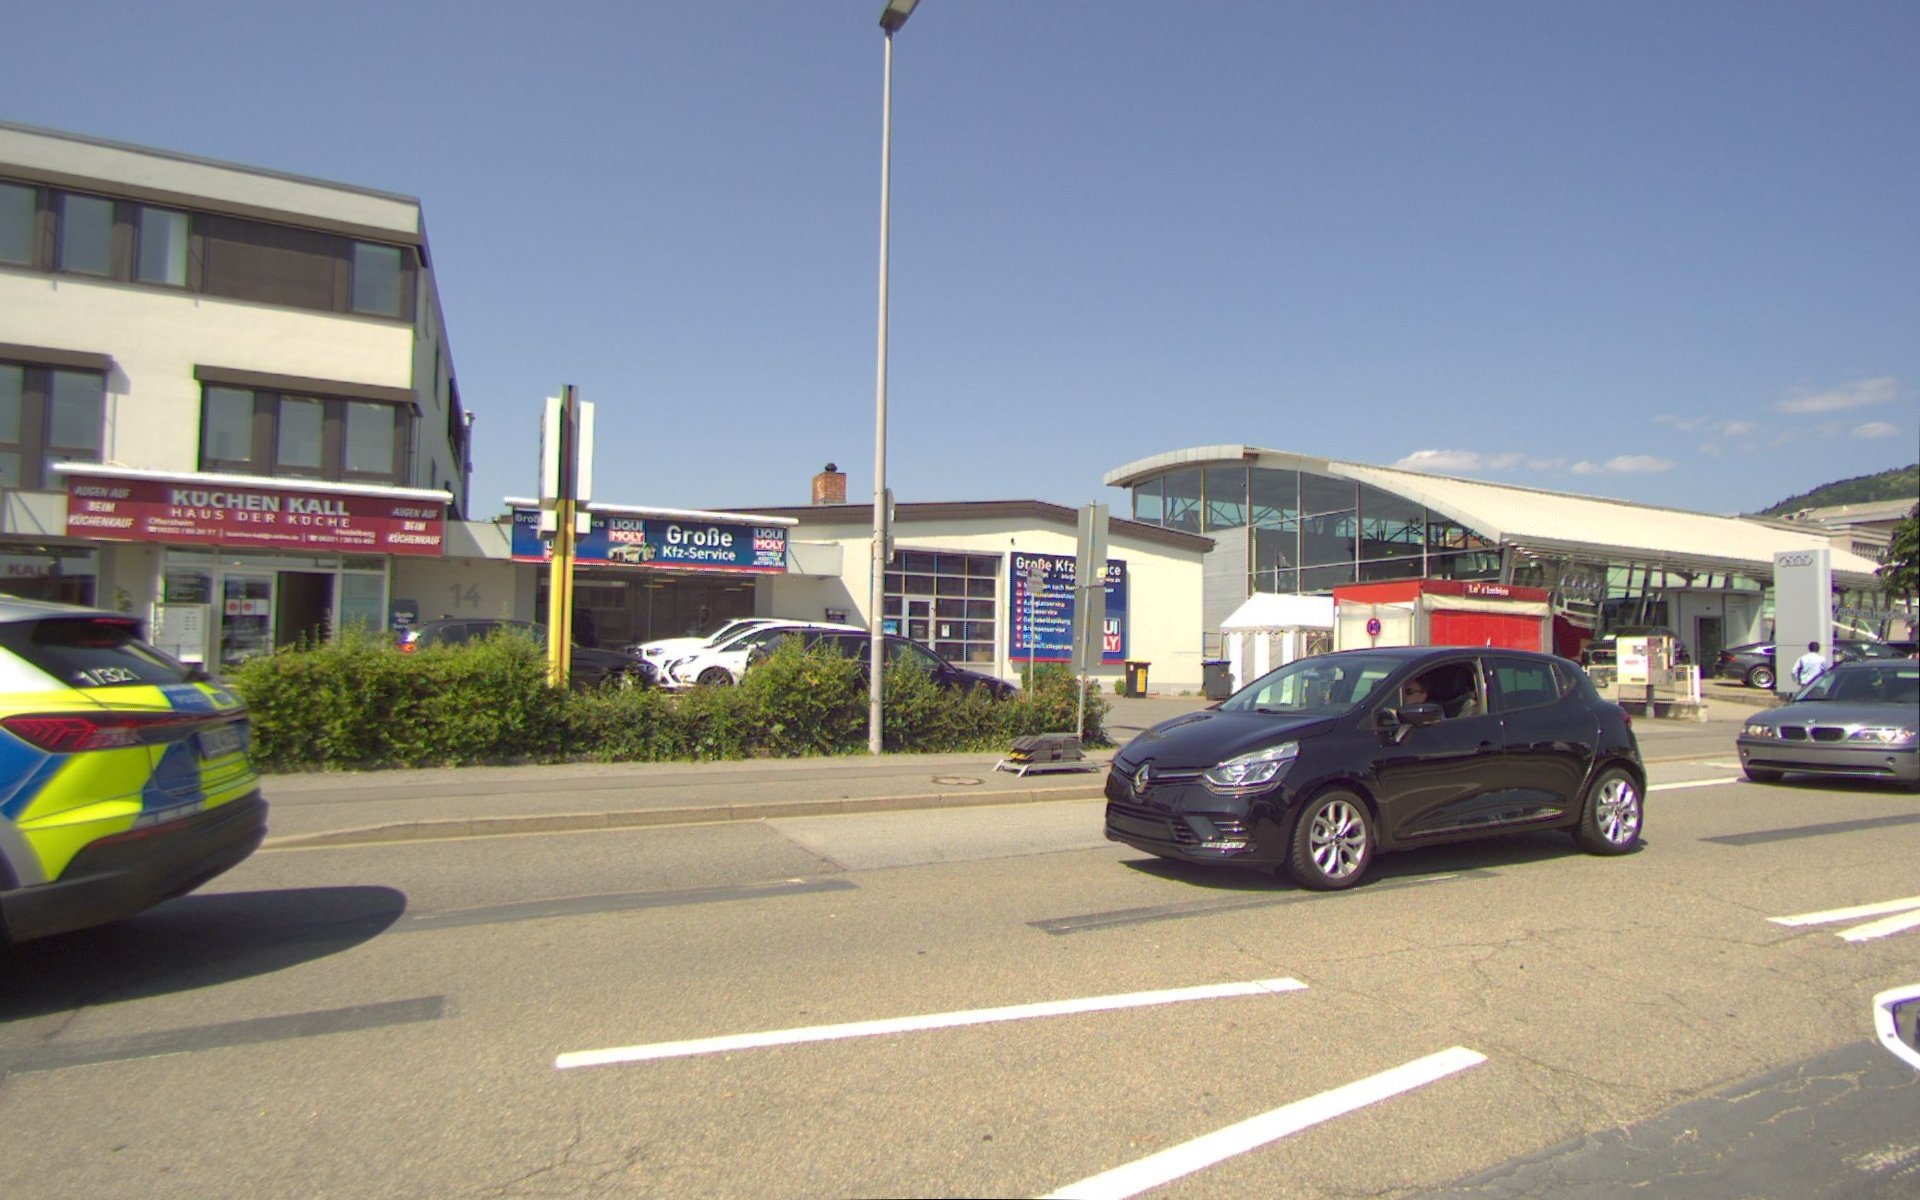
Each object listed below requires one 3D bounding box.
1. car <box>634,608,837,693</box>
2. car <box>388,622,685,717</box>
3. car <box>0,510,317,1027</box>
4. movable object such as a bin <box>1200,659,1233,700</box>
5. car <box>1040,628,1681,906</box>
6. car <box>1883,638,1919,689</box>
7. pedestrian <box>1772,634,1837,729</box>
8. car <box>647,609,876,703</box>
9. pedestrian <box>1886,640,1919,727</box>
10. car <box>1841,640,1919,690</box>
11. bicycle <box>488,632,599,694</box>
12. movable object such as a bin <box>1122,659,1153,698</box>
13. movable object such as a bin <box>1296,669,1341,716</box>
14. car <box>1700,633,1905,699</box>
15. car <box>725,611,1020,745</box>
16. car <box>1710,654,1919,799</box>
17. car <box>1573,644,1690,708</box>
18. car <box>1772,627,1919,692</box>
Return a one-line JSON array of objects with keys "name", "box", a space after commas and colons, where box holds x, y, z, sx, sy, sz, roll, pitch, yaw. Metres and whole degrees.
[{"name": "car", "box": [-5.237, 1.182, 23.474, 4.357, 1.840, 1.903, 1, -3, -24]}, {"name": "car", "box": [-7.029, 1.154, 16.979, 4.357, 1.439, 1.903, 1, -3, -24]}, {"name": "car", "box": [-5.158, 0.592, 3.754, 4.289, 1.781, 1.890, 1, -3, -22]}, {"name": "movable object such as a bin", "box": [6.838, 2.103, 26.782, 0.678, 1.057, 0.564, 1, -1, -14]}, {"name": "car", "box": [2.795, 0.999, 6.981, 4.181, 1.473, 1.657, 1, -5, -24]}, {"name": "car", "box": [34.173, 2.131, 33.589, 4.497, 1.719, 1.857, -1, -2, 28]}, {"name": "pedestrian", "box": [17.298, 1.653, 20.580, 0.901, 1.872, 0.719, 2, -3, -32]}, {"name": "car", "box": [-4.193, 1.224, 21.247, 4.415, 1.730, 1.904, 4, -4, -23]}, {"name": "pedestrian", "box": [21.164, 1.835, 22.198, 1.035, 1.892, 0.729, 2, -3, -32]}, {"name": "car", "box": [30.743, 2.078, 31.677, 4.126, 1.514, 1.872, 1, -2, 28]}, {"name": "bicycle", "box": [-9.152, 1.370, 22.204, 0.687, 1.298, 2.483, -1, -3, 22]}, {"name": "movable object such as a bin", "box": [4.960, 2.198, 28.135, 0.678, 1.062, 0.587, 1, -1, -14]}, {"name": "movable object such as a bin", "box": [7.398, 1.901, 20.734, 0.678, 0.935, 0.572, 1, -1, -14]}, {"name": "car", "box": [23.893, 1.843, 28.703, 4.085, 1.478, 1.905, 4, -1, 28]}, {"name": "car", "box": [-1.288, 1.113, 14.772, 3.946, 1.737, 1.900, 1, -3, -25]}, {"name": "car", "box": [10.829, 1.367, 11.668, 4.271, 1.422, 1.735, 2, -5, -29]}, {"name": "car", "box": [21.174, 2.329, 31.606, 4.698, 1.742, 1.975, 3, 0, -42]}, {"name": "car", "box": [27.409, 1.783, 30.127, 4.401, 1.631, 1.962, 2, 3, 28]}]
